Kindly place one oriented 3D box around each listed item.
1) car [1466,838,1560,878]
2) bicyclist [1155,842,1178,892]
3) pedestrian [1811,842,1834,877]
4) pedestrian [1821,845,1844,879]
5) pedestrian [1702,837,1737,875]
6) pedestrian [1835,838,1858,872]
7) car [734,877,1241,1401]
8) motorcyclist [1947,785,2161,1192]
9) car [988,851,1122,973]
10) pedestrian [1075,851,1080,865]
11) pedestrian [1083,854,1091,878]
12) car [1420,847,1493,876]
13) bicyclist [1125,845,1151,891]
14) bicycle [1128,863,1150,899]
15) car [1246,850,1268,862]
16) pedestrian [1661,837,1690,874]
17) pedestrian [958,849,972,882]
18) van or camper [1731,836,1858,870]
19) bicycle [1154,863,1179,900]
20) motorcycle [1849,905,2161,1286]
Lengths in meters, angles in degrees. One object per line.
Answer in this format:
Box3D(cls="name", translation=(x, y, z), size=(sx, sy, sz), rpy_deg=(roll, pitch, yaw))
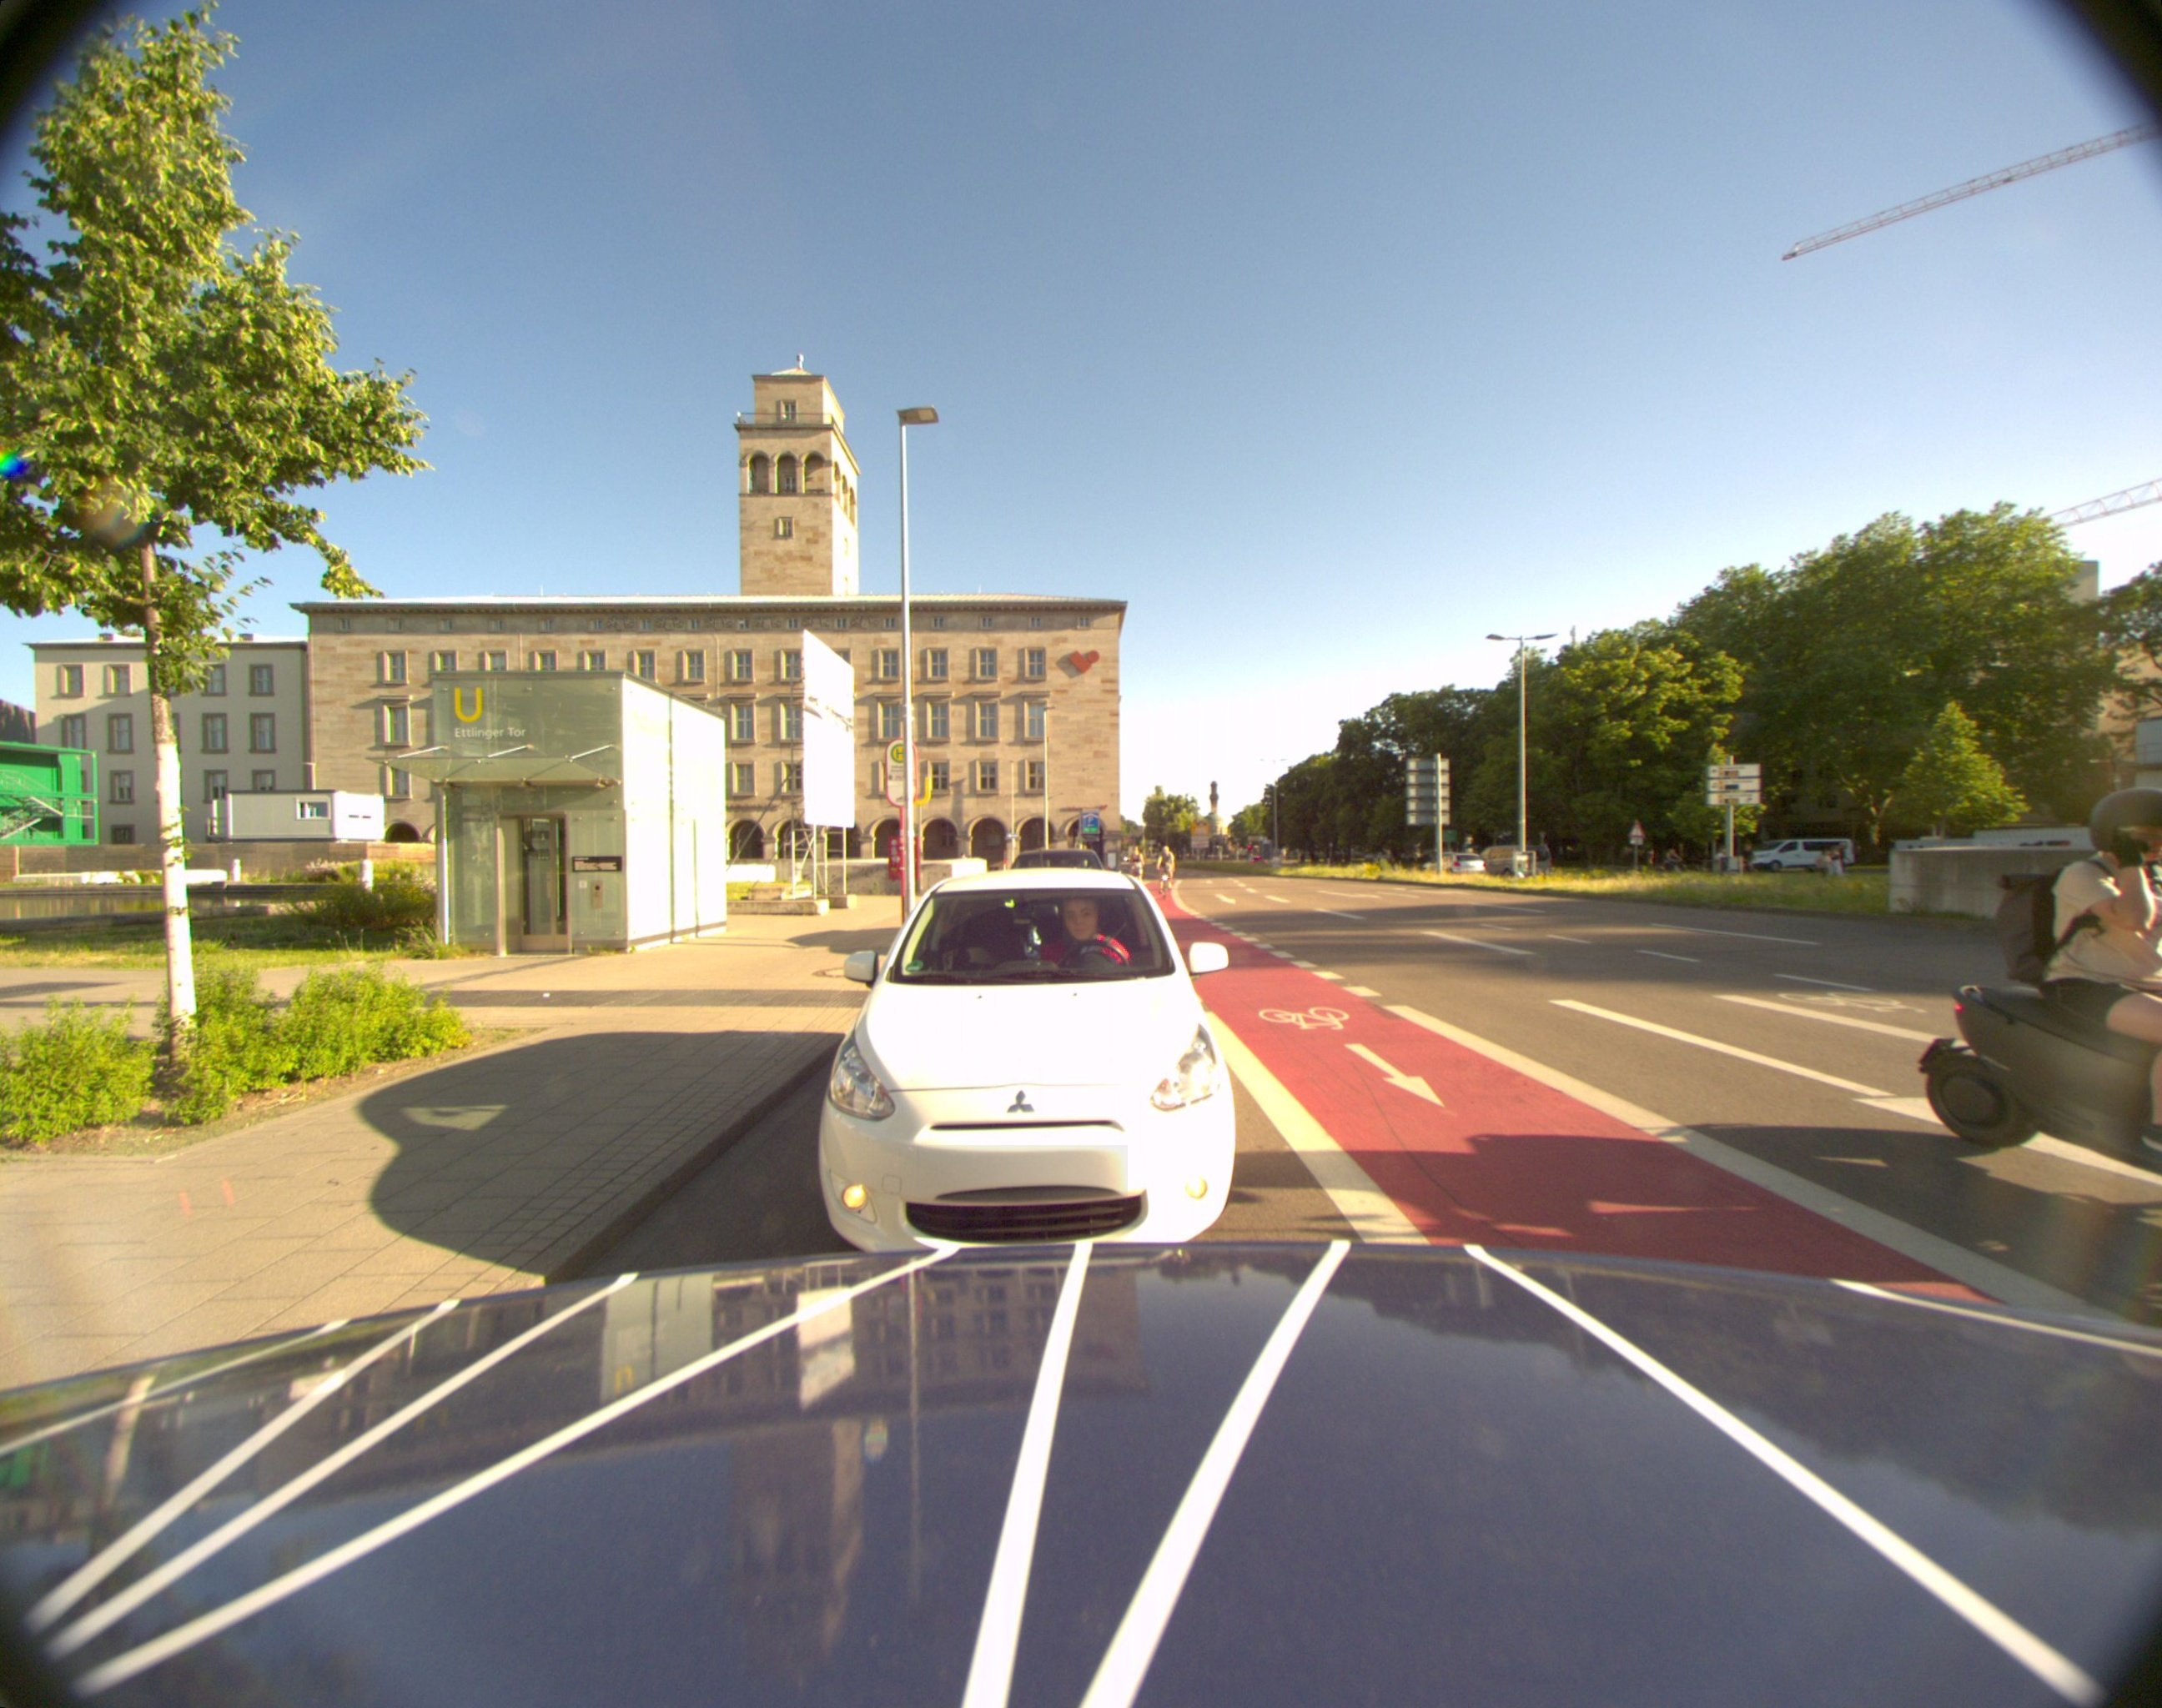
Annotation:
Box3D(cls="car", translation=(21.972, 0.195, 38.897), size=(1.887, 1.911, 4.930), rpy_deg=(-1, 0, -2))
Box3D(cls="bicyclist", translation=(2.908, 0.437, 25.934), size=(0.674, 1.649, 0.877), rpy_deg=(-1, 1, 1))
Box3D(cls="pedestrian", translation=(32.309, 0.233, 33.111), size=(0.499, 1.502, 0.494), rpy_deg=(-1, 1, 1))
Box3D(cls="pedestrian", translation=(33.405, 0.334, 33.782), size=(0.499, 1.502, 0.494), rpy_deg=(-1, 1, 1))
Box3D(cls="pedestrian", translation=(33.388, 0.105, 39.752), size=(1.126, 1.952, 0.815), rpy_deg=(-2, 1, 1))
Box3D(cls="pedestrian", translation=(34.192, 0.053, 33.946), size=(0.499, 1.502, 0.494), rpy_deg=(-1, 1, 1))
Box3D(cls="car", translation=(-0.256, 0.929, 4.302), size=(1.519, 1.447, 4.000), rpy_deg=(-1, 0, 1))
Box3D(cls="motorcyclist", translation=(4.272, 0.476, 2.945), size=(0.824, 1.455, 0.877), rpy_deg=(-1, 1, 1))
Box3D(cls="car", translation=(-0.332, 0.799, 12.511), size=(1.833, 1.660, 4.000), rpy_deg=(-1, 0, 1))
Box3D(cls="pedestrian", translation=(-0.535, 0.571, 112.050), size=(0.612, 2.002, 0.727), rpy_deg=(-2, 1, 0))
Box3D(cls="pedestrian", translation=(0.455, 0.869, 54.477), size=(0.552, 1.692, 0.553), rpy_deg=(-1, 1, -1))
Box3D(cls="car", translation=(18.779, 0.364, 38.180), size=(1.728, 1.369, 3.943), rpy_deg=(-1, 0, 1))
Box3D(cls="bicyclist", translation=(1.986, 0.475, 26.611), size=(0.824, 1.568, 0.877), rpy_deg=(-1, 1, 1))
Box3D(cls="bicycle", translation=(2.016, 0.936, 26.539), size=(0.689, 1.185, 1.506), rpy_deg=(-1, 1, 1))
Box3D(cls="car", translation=(21.327, 0.216, 92.218), size=(1.881, 1.472, 3.980), rpy_deg=(-1, 0, 1))
Box3D(cls="pedestrian", translation=(32.905, 0.077, 42.069), size=(0.955, 2.002, 0.841), rpy_deg=(-2, 1, 13))
Box3D(cls="pedestrian", translation=(-5.903, 0.583, 38.776), size=(0.595, 1.700, 0.583), rpy_deg=(-1, 1, 1))
Box3D(cls="van or camper", translation=(42.235, -0.046, 45.059), size=(5.499, 1.934, 1.951), rpy_deg=(-1, 0, 4))
Box3D(cls="bicycle", translation=(2.913, 0.914, 26.003), size=(0.689, 1.185, 1.506), rpy_deg=(-1, 1, 1))
Box3D(cls="motorcycle", translation=(4.271, 0.900, 2.851), size=(0.828, 1.273, 1.944), rpy_deg=(-1, 0, 1))
